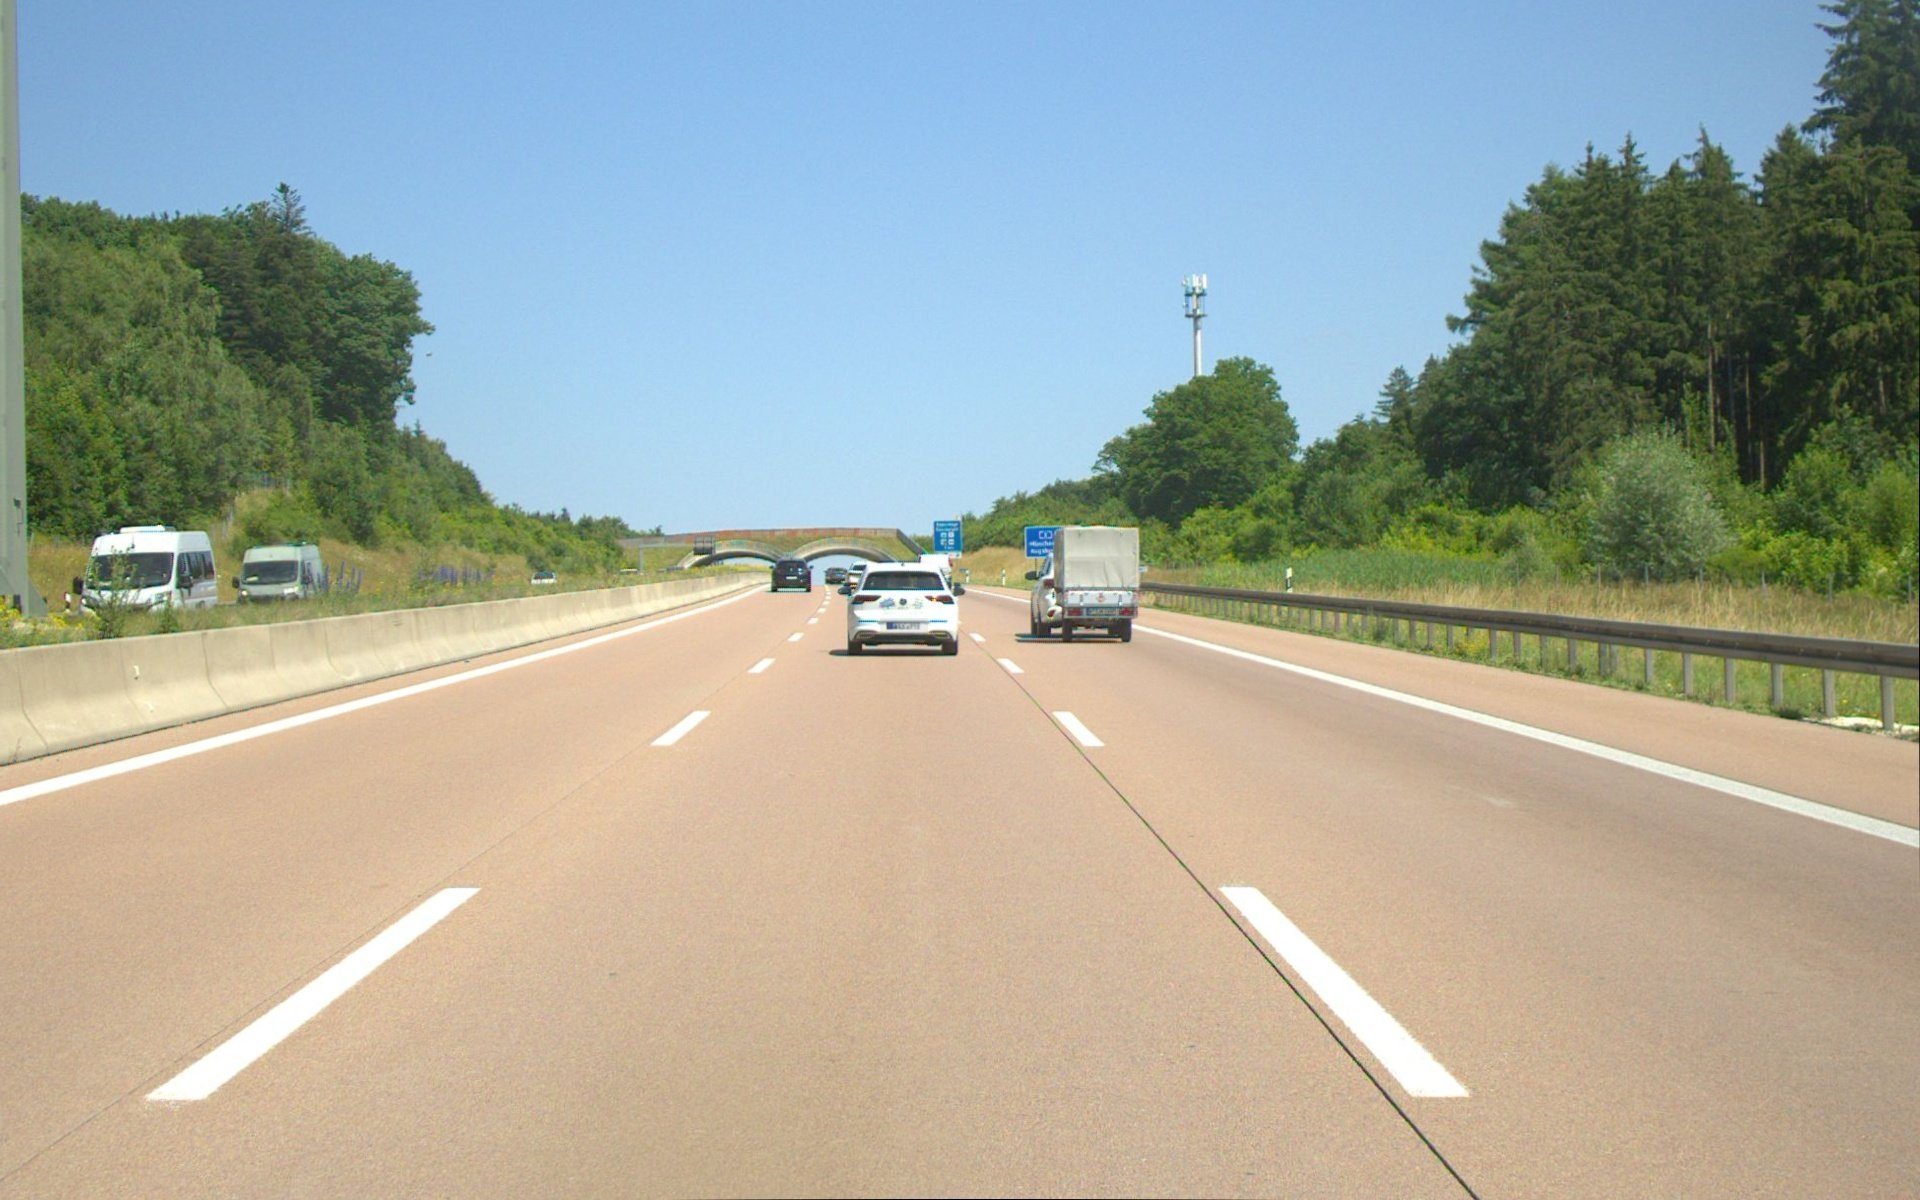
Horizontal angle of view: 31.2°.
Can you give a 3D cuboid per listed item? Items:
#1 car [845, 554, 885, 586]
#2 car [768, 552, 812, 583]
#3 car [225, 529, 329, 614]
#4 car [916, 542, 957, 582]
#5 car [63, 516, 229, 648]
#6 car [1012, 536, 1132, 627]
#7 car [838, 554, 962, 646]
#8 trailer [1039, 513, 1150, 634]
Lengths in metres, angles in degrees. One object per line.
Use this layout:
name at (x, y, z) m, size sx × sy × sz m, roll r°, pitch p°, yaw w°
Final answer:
car at (-4.507, -1.441, 163.376) m, size 1.890 × 1.458 × 4.000 m, roll 0°, pitch 1°, yaw -2°
car at (-8.164, -1.555, 165.370) m, size 1.891 × 1.458 × 4.000 m, roll 0°, pitch 1°, yaw 0°
car at (-21.933, -0.946, 110.714) m, size 2.232 × 2.677 × 6.888 m, roll 0°, pitch 1°, yaw -2°
car at (-1.226, -2.012, 180.285) m, size 2.110 × 2.047 × 4.000 m, roll 0°, pitch 1°, yaw 0°
car at (-17.188, -0.418, 72.913) m, size 2.232 × 2.677 × 6.098 m, roll 0°, pitch 1°, yaw -2°
car at (2.162, -0.365, 67.830) m, size 1.890 × 1.722 × 5.187 m, roll 0°, pitch 0°, yaw -3°
car at (-0.926, -0.019, 54.712) m, size 1.891 × 1.393 × 4.000 m, roll 1°, pitch 1°, yaw 0°
trailer at (2.436, -0.487, 63.278) m, size 1.657 × 2.156 × 4.016 m, roll 0°, pitch 0°, yaw -3°
